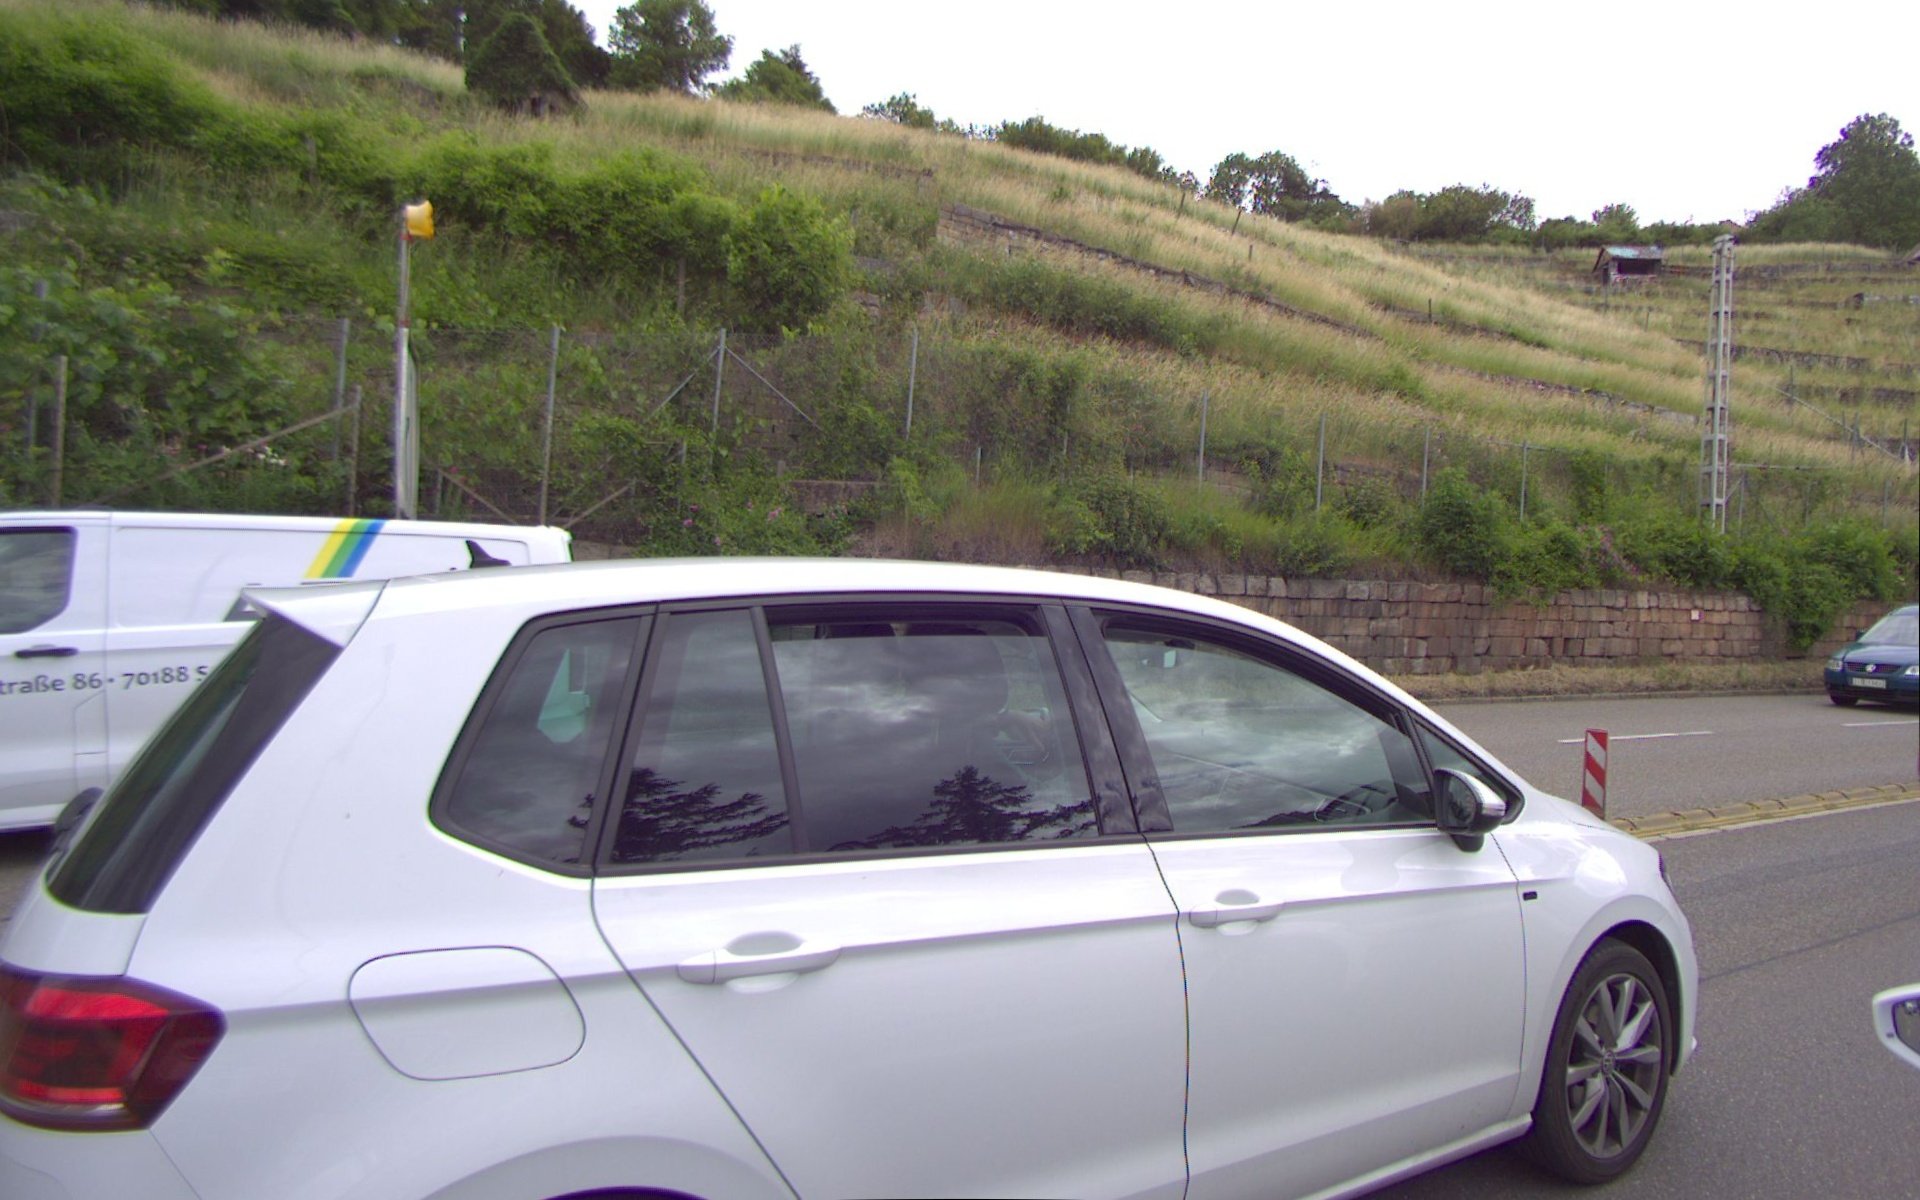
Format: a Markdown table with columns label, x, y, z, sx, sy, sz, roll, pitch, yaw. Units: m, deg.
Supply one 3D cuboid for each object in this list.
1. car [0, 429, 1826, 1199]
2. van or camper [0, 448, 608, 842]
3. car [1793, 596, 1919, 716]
| label | x | y | z | sx | sy | sz | roll | pitch | yaw |
| --- | --- | --- | --- | --- | --- | --- | --- | --- | --- |
| car | 0.264 | 0.683 | 2.723 | 4.303 | 1.601 | 1.813 | 1 | -2 | -30 |
| van or camper | -4.990 | 0.208 | 6.425 | 4.903 | 2.043 | 2.138 | 0 | 2 | -29 |
| car | 16.758 | 0.898 | 17.080 | 4.661 | 1.806 | 1.848 | 1 | 1 | -20 |
